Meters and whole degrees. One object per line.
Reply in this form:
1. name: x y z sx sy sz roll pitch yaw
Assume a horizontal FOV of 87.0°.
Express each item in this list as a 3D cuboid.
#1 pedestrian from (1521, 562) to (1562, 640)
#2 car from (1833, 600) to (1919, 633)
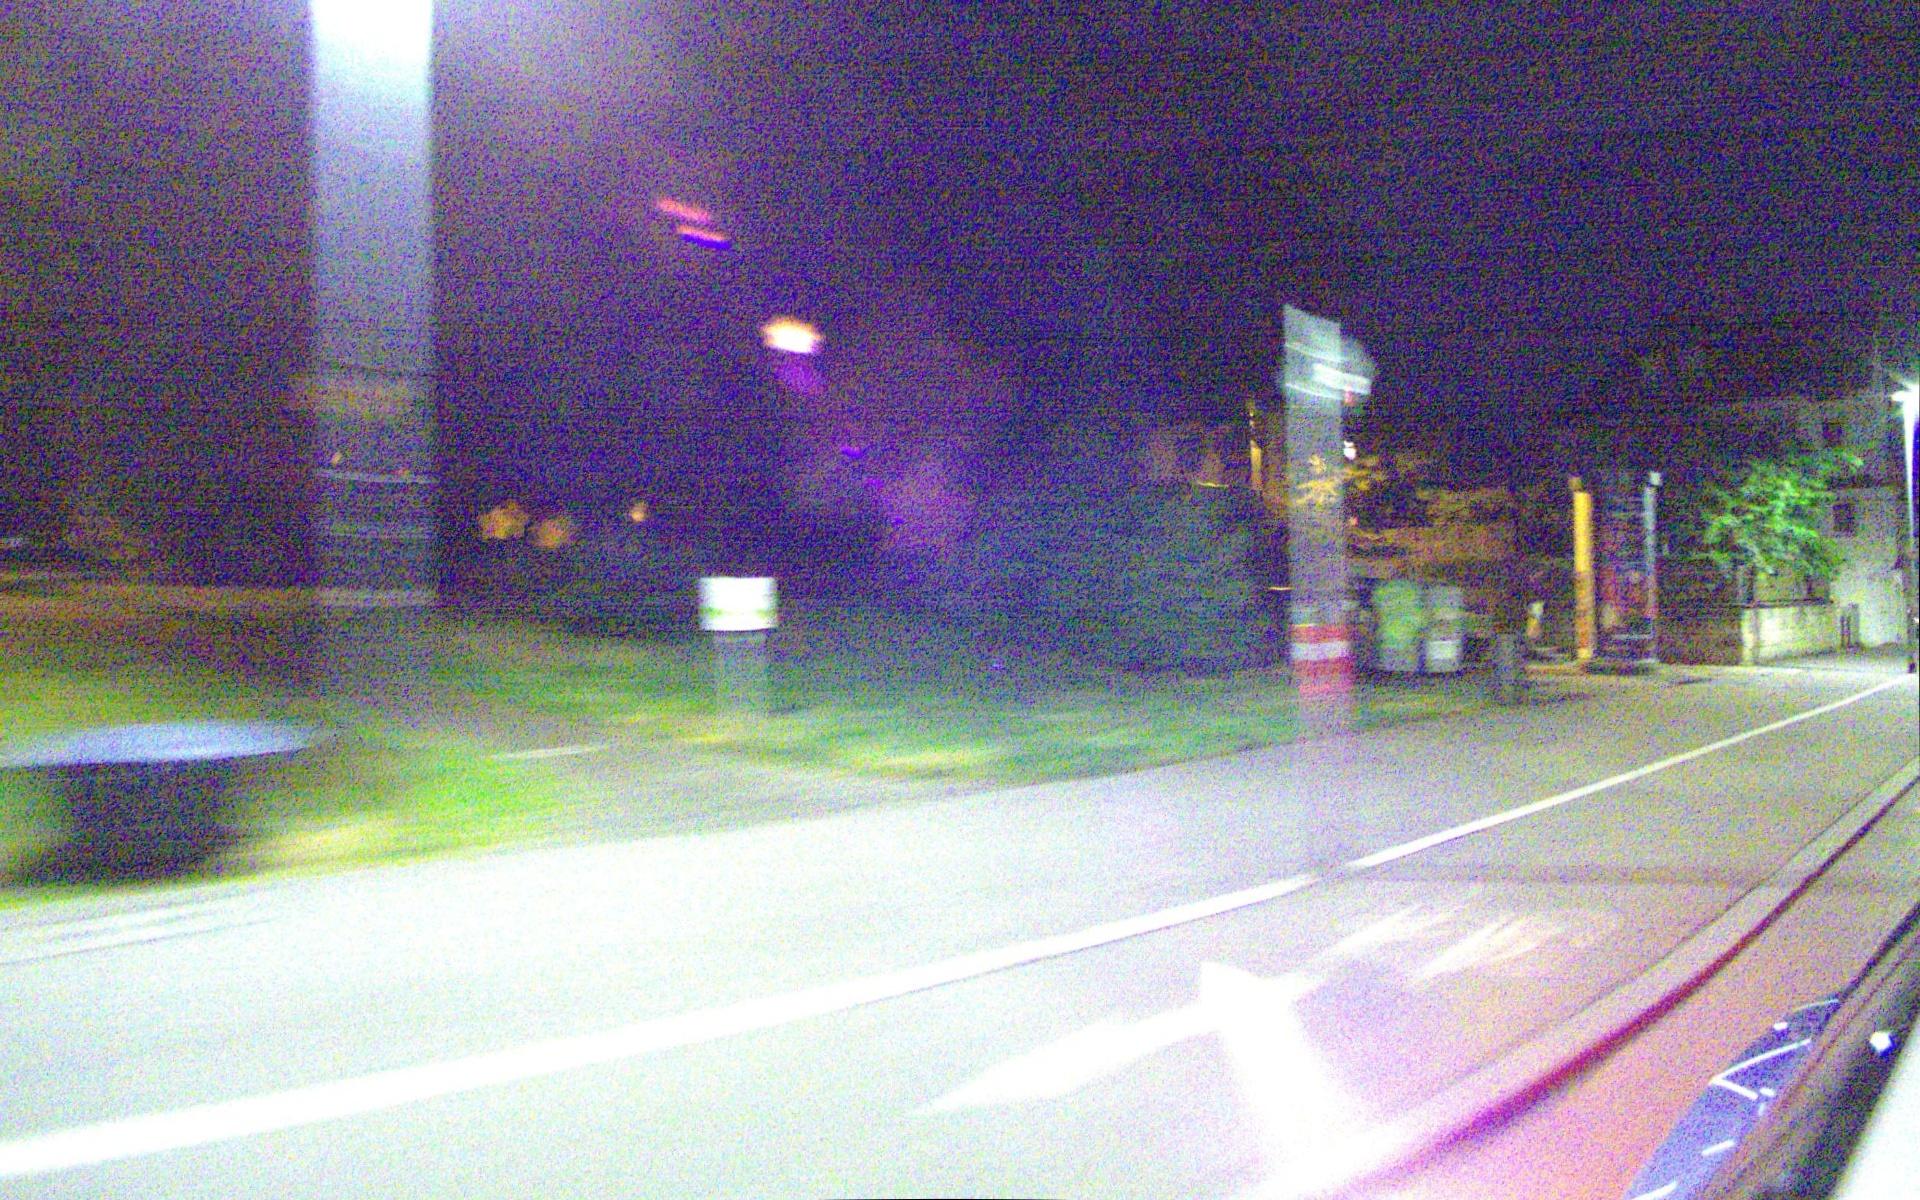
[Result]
1. pedestrian: 14.864 0.017 25.872 0.759 1.961 0.647 1 1 -40
2. car: 43.721 0.777 47.641 1.699 1.492 3.720 0 0 -37
